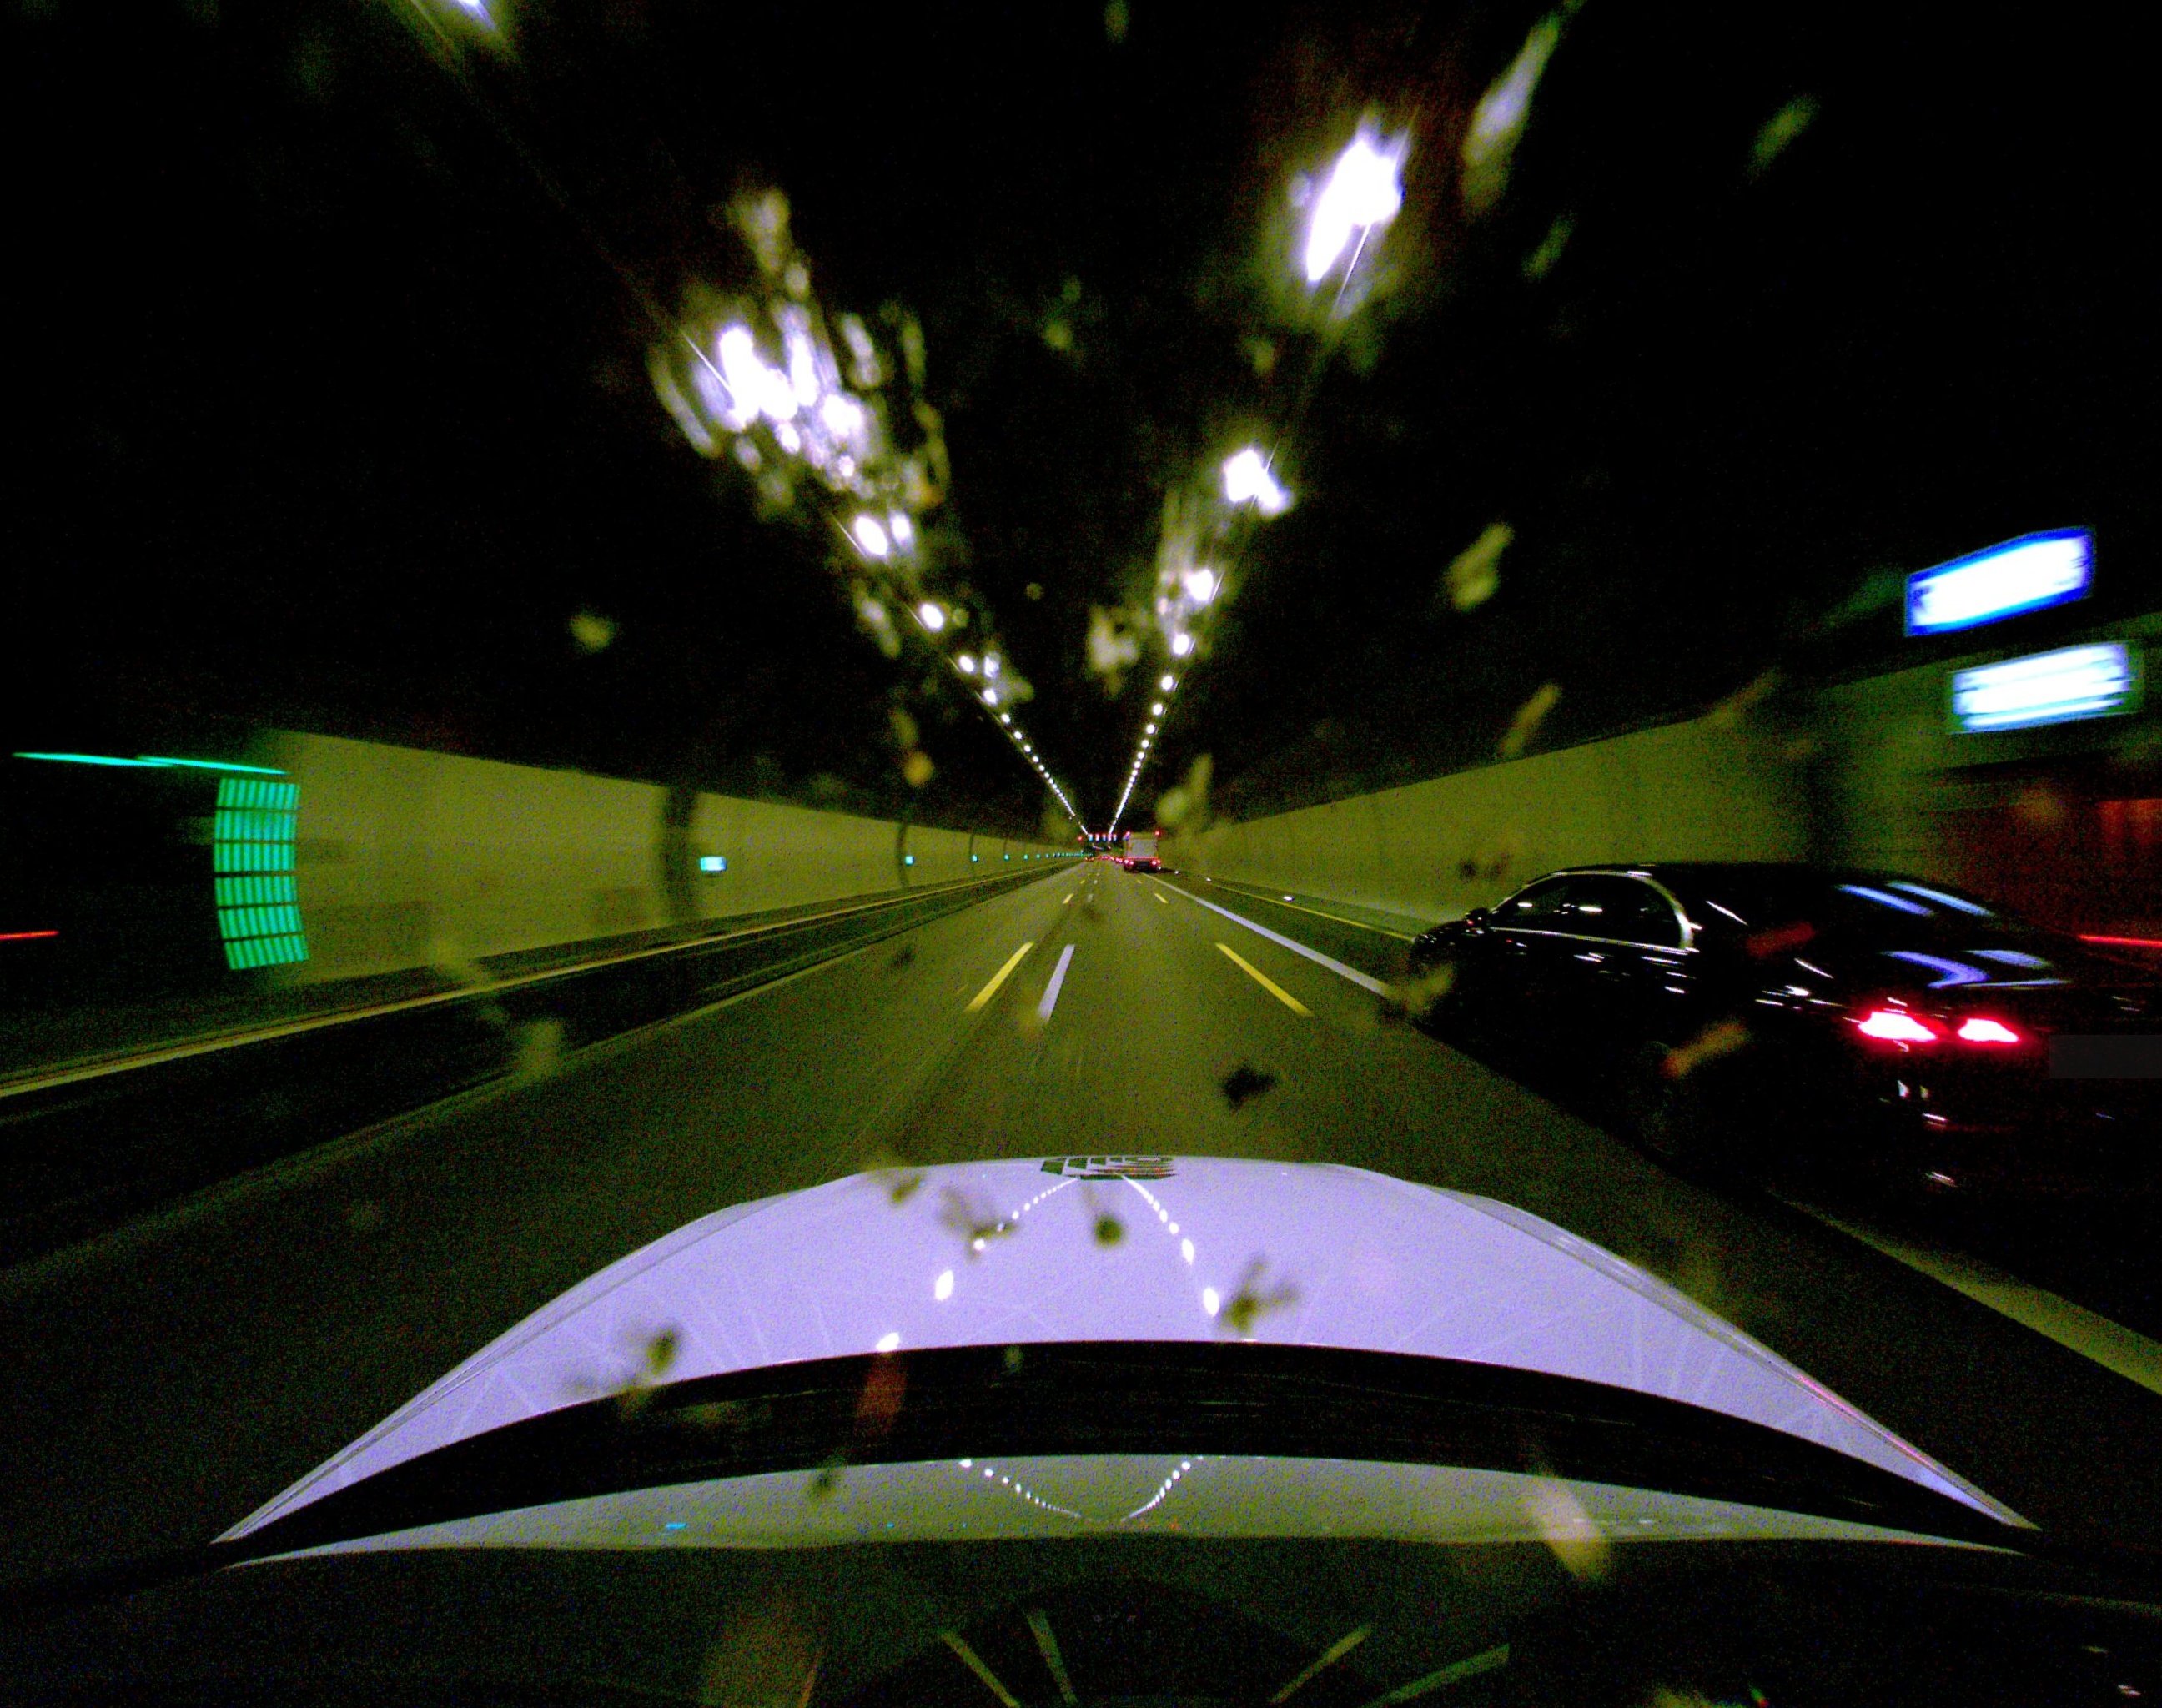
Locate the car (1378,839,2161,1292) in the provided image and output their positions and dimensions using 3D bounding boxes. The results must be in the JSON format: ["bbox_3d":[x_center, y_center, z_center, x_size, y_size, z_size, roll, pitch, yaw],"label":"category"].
[{"bbox_3d":[3.662,0.713,5.147,1.918,1.472,4.956,0,0,2],"label":"car"}]

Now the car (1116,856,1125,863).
[{"bbox_3d":[7.932,1.108,162.158,1.732,1.461,3.963,0,0,3],"label":"car"}]

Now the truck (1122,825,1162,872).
[{"bbox_3d":[5.393,-0.371,73.461,3.080,3.918,10.371,1,-1,2],"label":"truck"}]

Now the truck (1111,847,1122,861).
[{"bbox_3d":[10.294,-0.076,238.340,3.054,3.918,10.375,1,-1,3],"label":"truck"}]

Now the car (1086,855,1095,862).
[{"bbox_3d":[2.012,0.941,172.820,1.752,1.461,4.121,0,0,2],"label":"car"}]
